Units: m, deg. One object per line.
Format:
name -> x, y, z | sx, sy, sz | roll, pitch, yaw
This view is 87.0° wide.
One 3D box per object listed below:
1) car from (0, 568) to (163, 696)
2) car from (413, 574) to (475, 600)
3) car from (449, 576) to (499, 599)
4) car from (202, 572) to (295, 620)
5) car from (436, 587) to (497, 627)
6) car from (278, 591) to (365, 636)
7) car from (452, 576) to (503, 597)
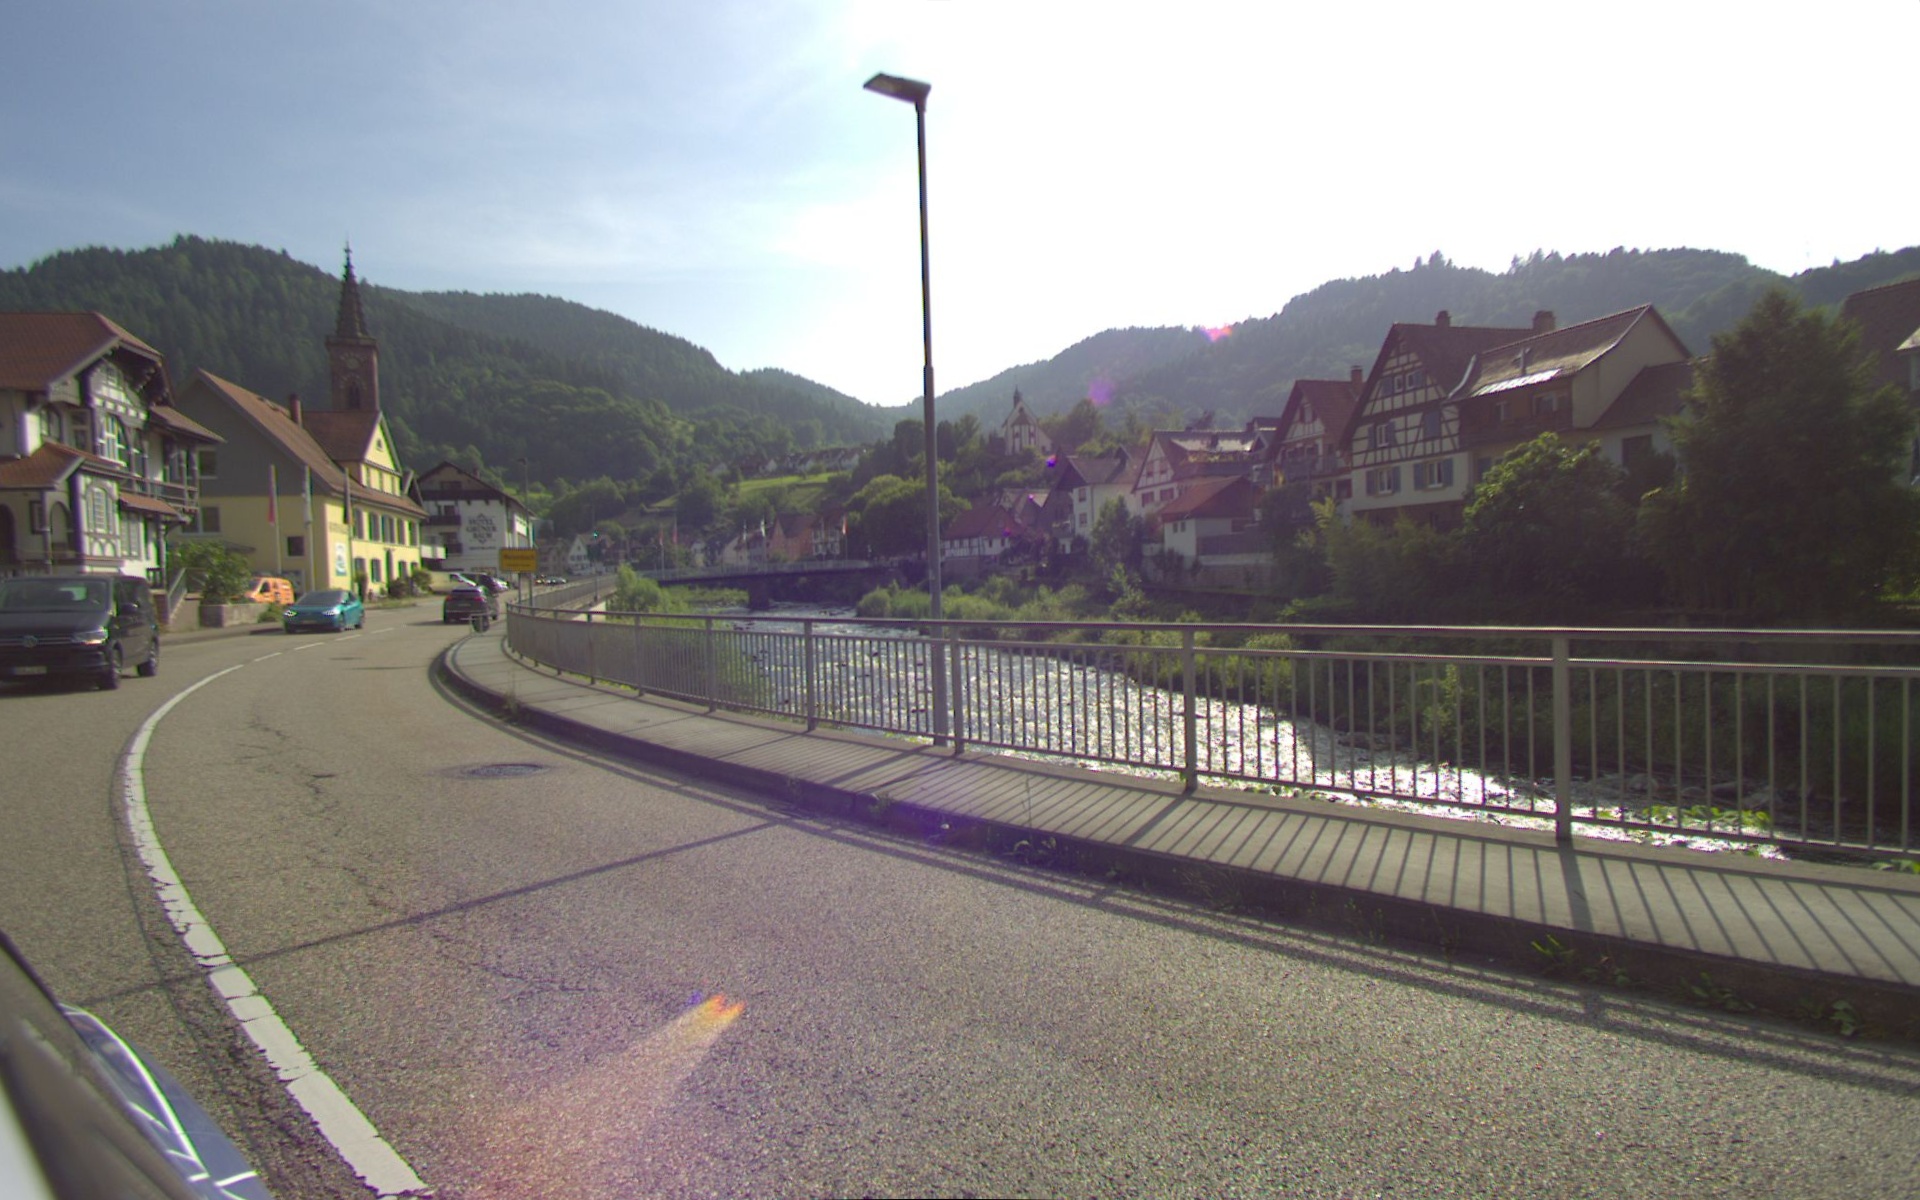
car -> -15.693, 0.497, 17.847 | 1.856, 1.979, 4.881 | 1, -1, -30
car -> -44.390, -1.126, 87.179 | 4.383, 1.973, 1.718 | 3, 0, -13
car -> -43.334, -1.126, 90.282 | 3.696, 1.907, 1.375 | 2, 1, -13
car -> -32.259, -0.176, 46.066 | 1.882, 2.012, 4.849 | 2, 0, -15
car -> -22.075, 0.297, 45.364 | 1.790, 1.655, 4.012 | 2, 0, -17
car -> -23.585, 0.450, 37.536 | 1.655, 1.533, 3.877 | 0, 1, -15
car -> -44.197, -1.231, 92.772 | 3.934, 1.896, 1.689 | 1, 1, -12
